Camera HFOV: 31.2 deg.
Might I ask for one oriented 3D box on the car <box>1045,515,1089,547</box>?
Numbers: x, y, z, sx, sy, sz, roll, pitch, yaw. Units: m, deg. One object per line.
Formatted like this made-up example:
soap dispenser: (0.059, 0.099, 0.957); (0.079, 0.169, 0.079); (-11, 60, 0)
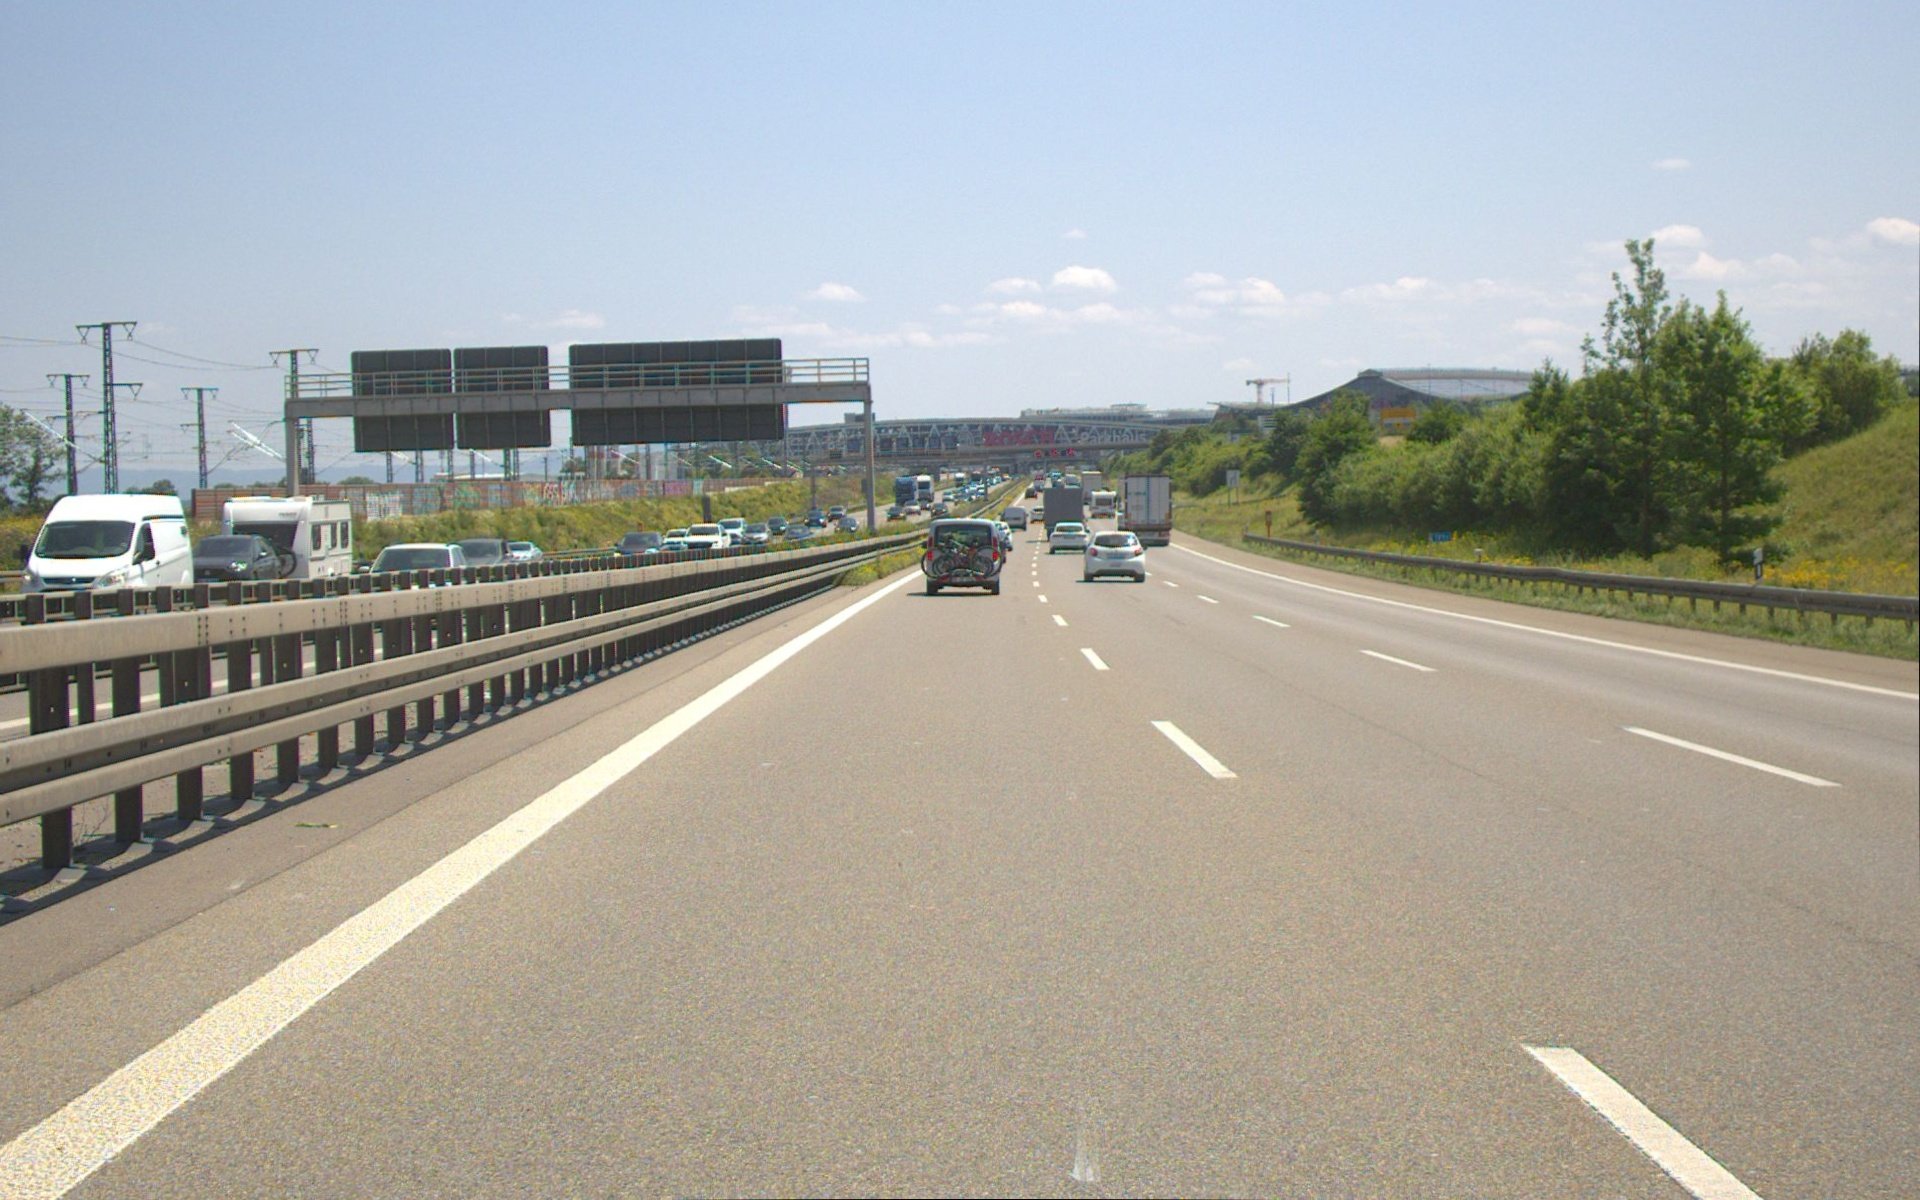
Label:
car: (5.107, -3.283, 164.157); (1.982, 1.468, 4.000); (0, 0, 0)

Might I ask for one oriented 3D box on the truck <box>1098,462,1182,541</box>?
truck: (10.118, -5.621, 194.299); (4.039, 4.247, 11.759); (0, 3, 0)

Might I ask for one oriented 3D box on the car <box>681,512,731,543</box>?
car: (-11.272, -3.210, 152.753); (1.947, 1.342, 4.000); (0, 1, 0)

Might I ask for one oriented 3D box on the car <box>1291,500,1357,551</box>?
car: (14.283, -2.899, 135.004); (1.926, 1.912, 4.518); (0, 0, -2)

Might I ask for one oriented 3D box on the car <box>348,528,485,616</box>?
car: (-9.363, -0.514, 59.528); (1.699, 1.460, 4.437); (0, 1, 0)

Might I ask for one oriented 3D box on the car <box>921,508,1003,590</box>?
car: (0.062, -1.204, 83.108); (1.926, 1.912, 4.948); (0, 0, 0)

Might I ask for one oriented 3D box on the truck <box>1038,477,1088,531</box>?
truck: (6.371, -5.905, 213.441); (2.702, 3.098, 10.659); (0, 0, 0)

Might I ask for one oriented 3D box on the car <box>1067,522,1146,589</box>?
car: (4.253, -1.277, 100.171); (1.926, 1.912, 4.518); (0, 0, -2)

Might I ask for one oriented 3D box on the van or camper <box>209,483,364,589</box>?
van or camper: (-17.557, -1.683, 90.147); (2.517, 2.656, 8.065); (0, 1, 0)

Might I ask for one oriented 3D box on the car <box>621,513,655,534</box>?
car: (-21.393, -5.087, 228.610); (1.947, 1.342, 4.000); (0, 1, 0)

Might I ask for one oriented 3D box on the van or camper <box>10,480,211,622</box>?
van or camper: (-14.400, -0.854, 58.630); (1.993, 2.292, 5.894); (0, 1, 0)

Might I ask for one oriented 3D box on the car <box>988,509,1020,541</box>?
car: (2.236, -3.798, 174.018); (1.576, 1.547, 3.964); (0, 0, 1)

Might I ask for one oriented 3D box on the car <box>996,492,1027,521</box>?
car: (3.880, -7.106, 261.136); (2.186, 1.996, 4.001); (0, 4, -2)

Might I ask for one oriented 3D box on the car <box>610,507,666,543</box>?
car: (-12.254, -2.859, 130.995); (1.765, 1.342, 4.000); (0, 1, 0)

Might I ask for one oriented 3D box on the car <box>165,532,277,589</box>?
car: (-17.764, -0.966, 82.794); (1.765, 1.342, 4.382); (0, 1, 0)
